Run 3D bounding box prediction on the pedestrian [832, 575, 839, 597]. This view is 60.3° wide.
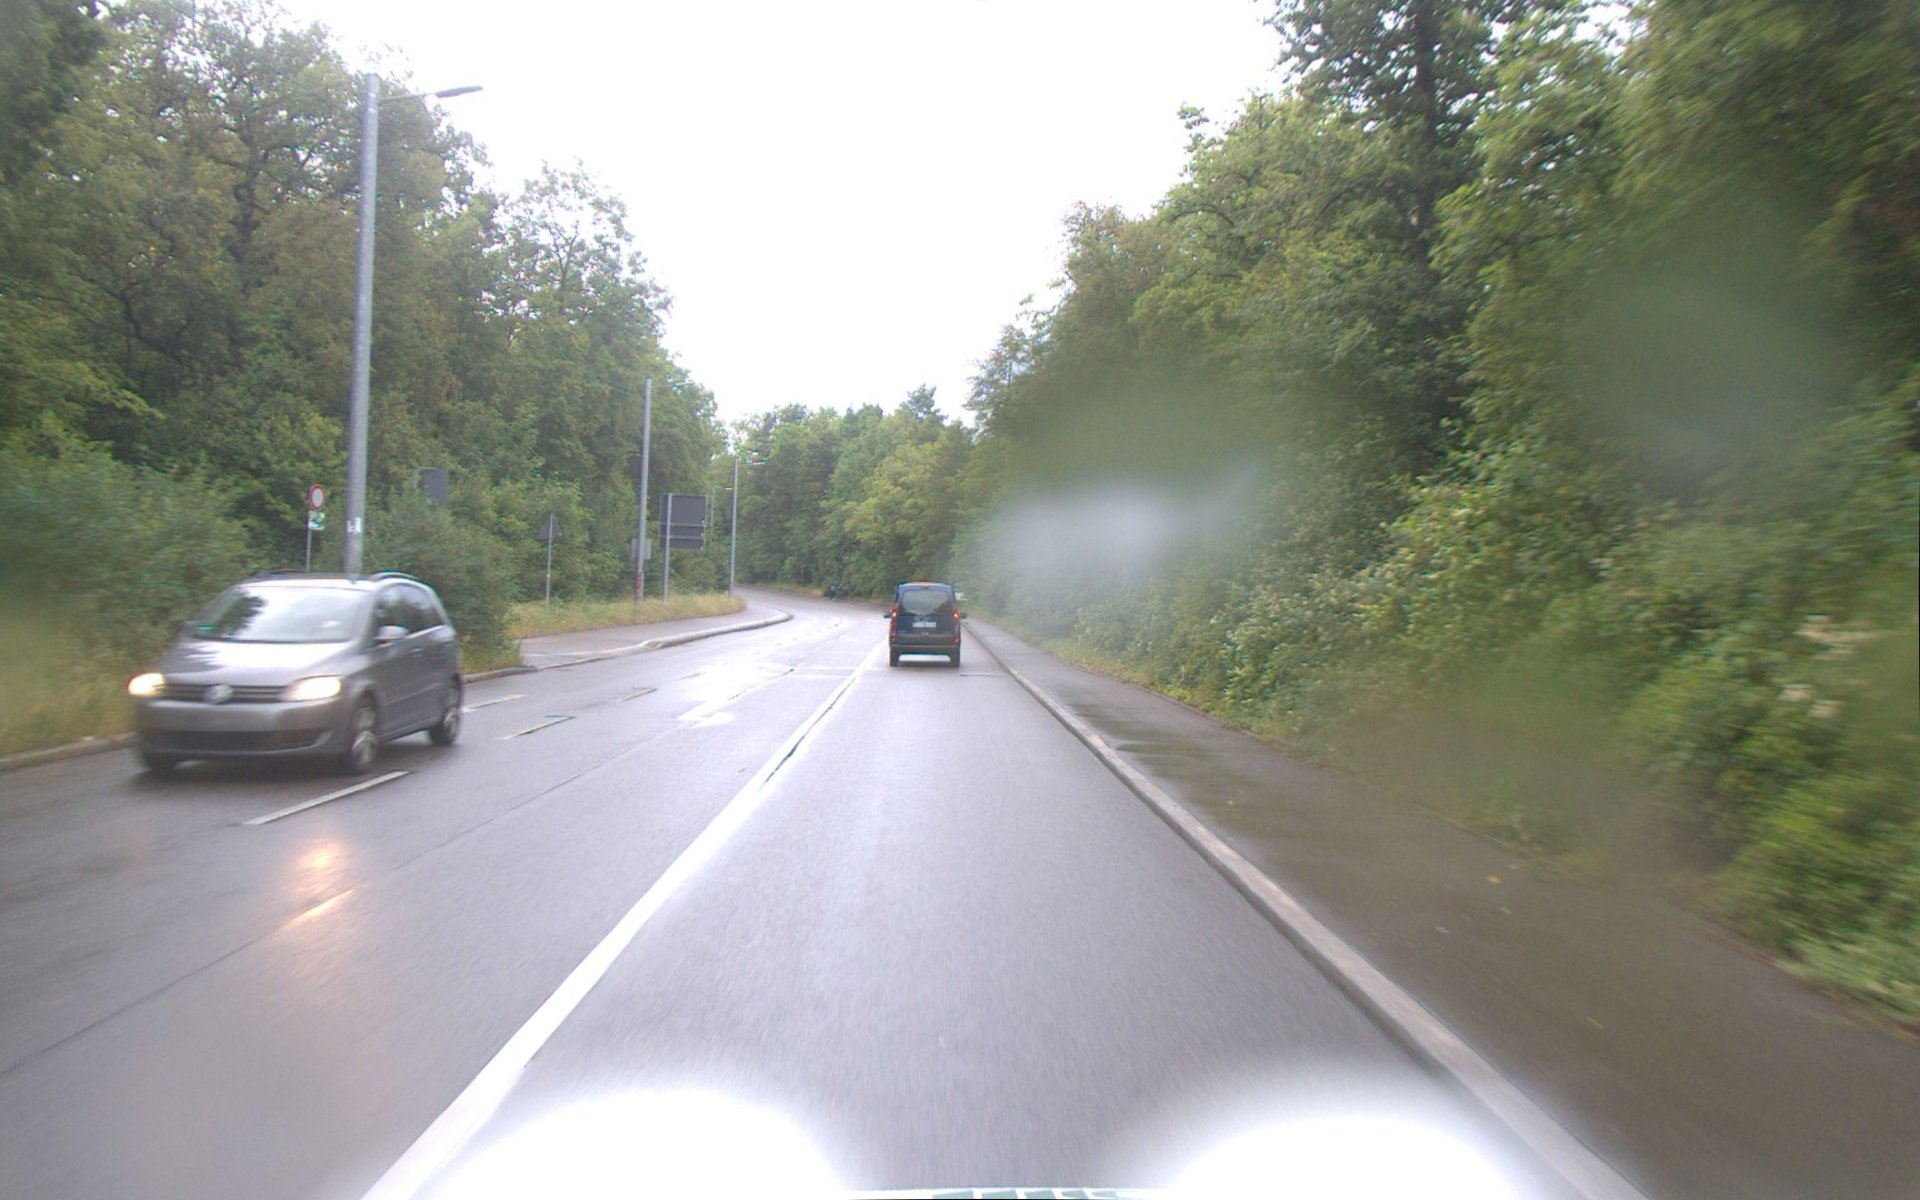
[{"bbox_3d":[-11.103,-1.268,147.667,0.482,1.903,0.677,1,0,-14],"label":"pedestrian"}]

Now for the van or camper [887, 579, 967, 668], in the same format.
[{"bbox_3d":[-0.723,0.495,38.157,1.677,1.857,4.000,2,1,0],"label":"van or camper"}]

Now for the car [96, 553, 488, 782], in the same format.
[{"bbox_3d":[-5.531,0.498,14.307,1.736,1.638,4.083,2,0,-1],"label":"car"}]
